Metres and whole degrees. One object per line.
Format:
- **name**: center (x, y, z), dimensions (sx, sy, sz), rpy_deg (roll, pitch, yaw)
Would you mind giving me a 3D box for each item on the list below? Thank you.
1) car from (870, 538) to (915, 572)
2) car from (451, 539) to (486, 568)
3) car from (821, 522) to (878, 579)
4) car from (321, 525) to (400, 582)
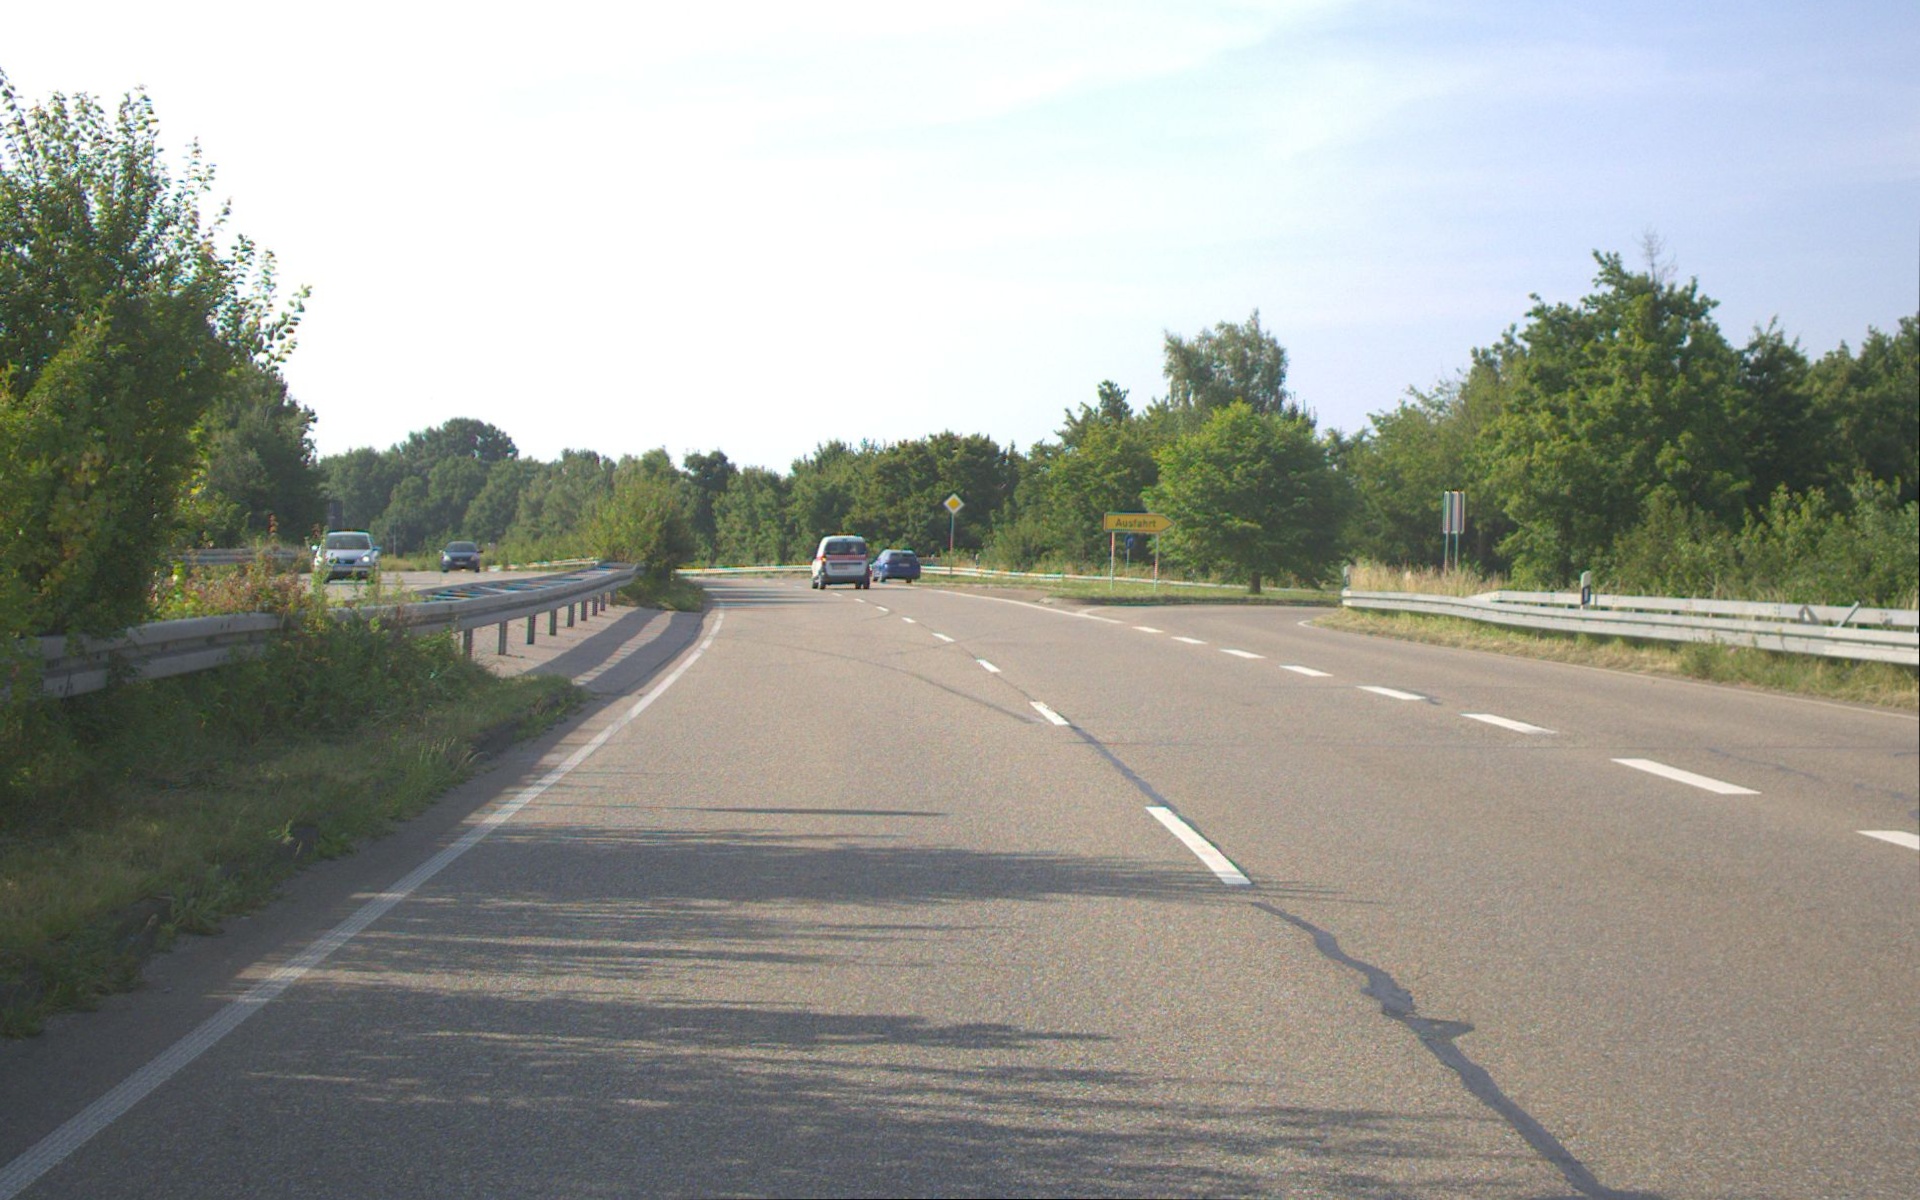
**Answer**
- **car**: center (-3.019, -2.002, 153.685), dimensions (1.778, 1.447, 4.000), rpy_deg (0, 0, -4)
- **car**: center (-22.935, -2.165, 160.602), dimensions (1.488, 1.293, 3.268), rpy_deg (0, 0, -6)
- **car**: center (-3.791, -1.673, 117.135), dimensions (1.765, 1.875, 4.001), rpy_deg (0, 0, -4)
- **car**: center (-16.647, -1.281, 95.548), dimensions (1.639, 1.416, 4.000), rpy_deg (1, -1, -3)
